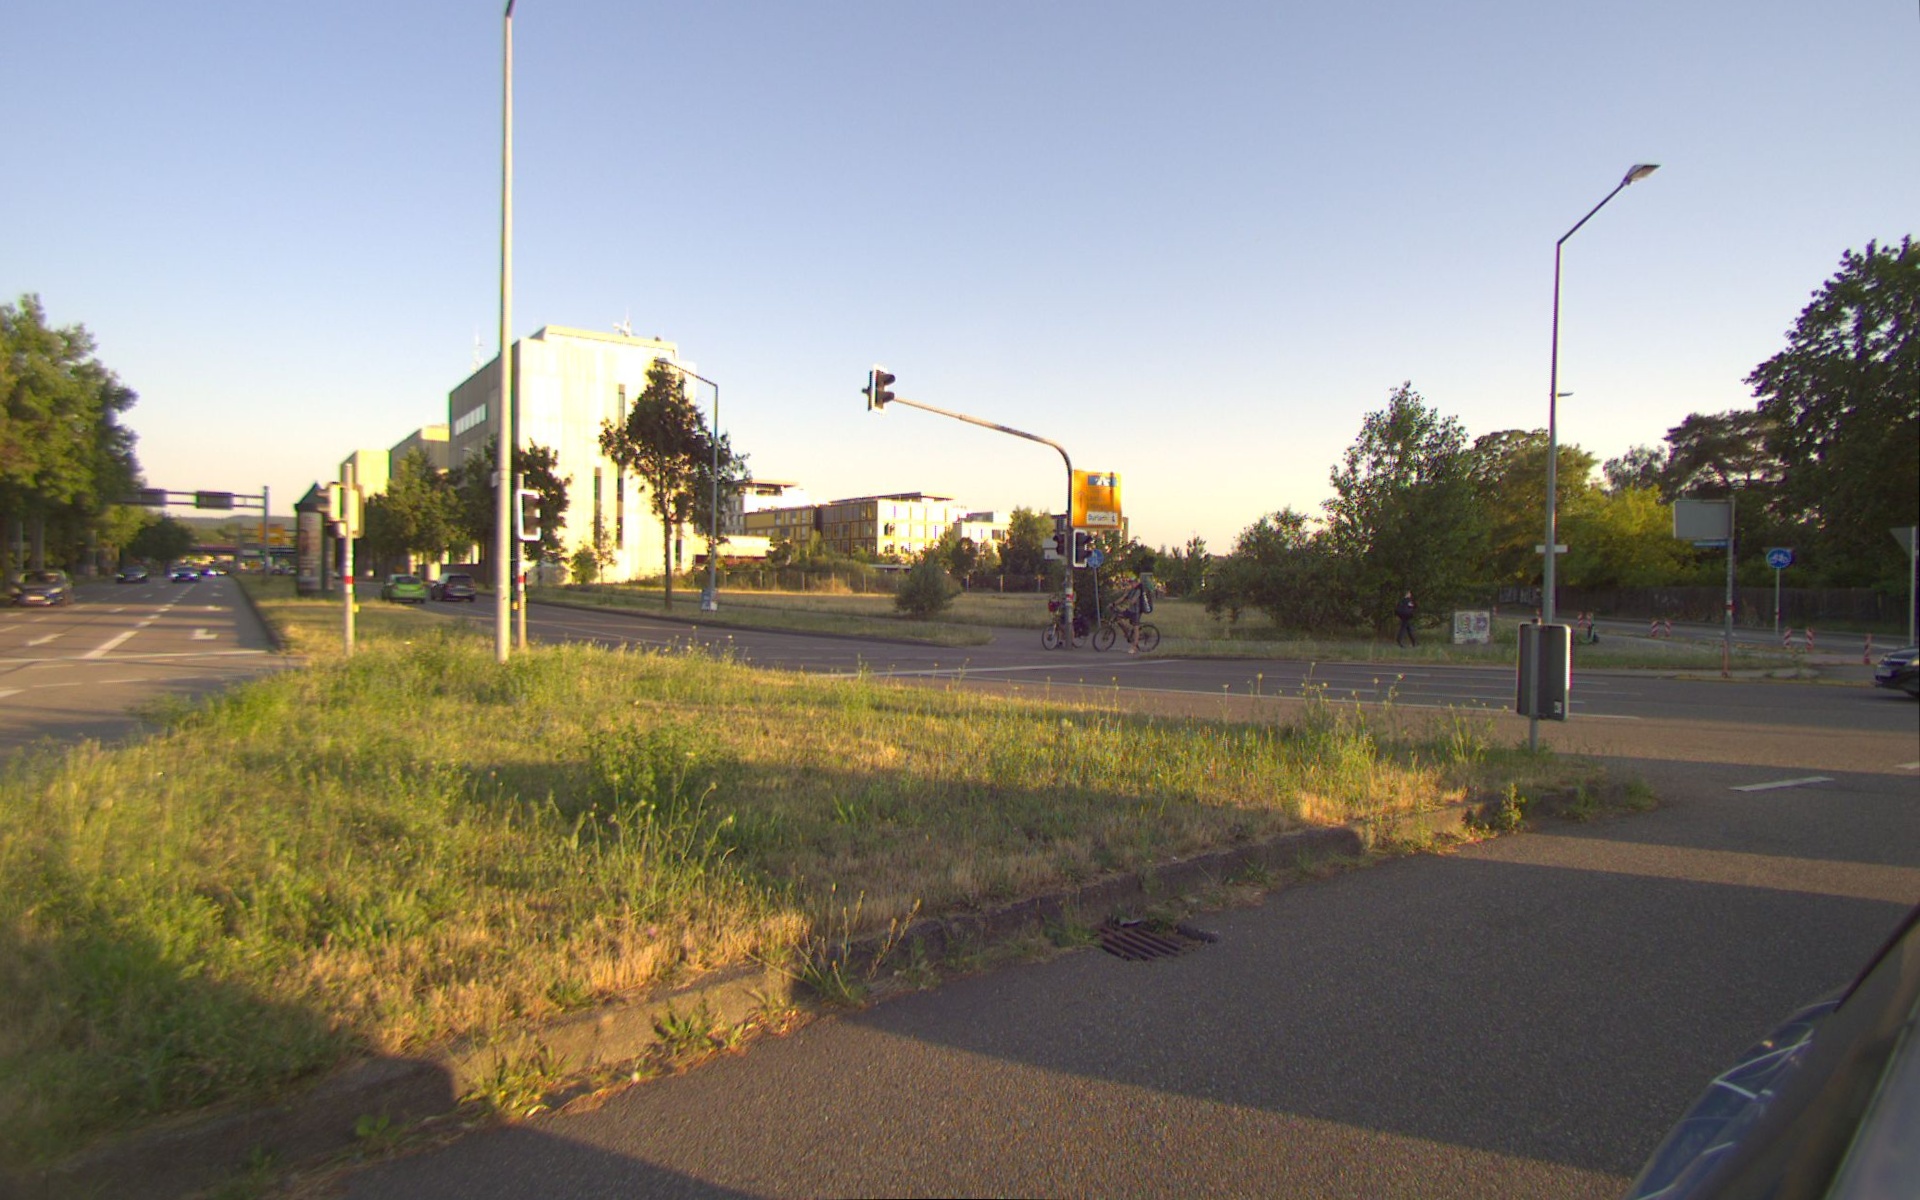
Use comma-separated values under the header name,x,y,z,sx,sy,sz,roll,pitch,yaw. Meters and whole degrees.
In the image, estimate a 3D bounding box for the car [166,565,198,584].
name,x,y,z,sx,sy,sz,roll,pitch,yaw
car,-65.090,-2.129,84.703,1.963,1.524,4.771,0,1,-36

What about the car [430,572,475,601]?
name,x,y,z,sx,sy,sz,roll,pitch,yaw
car,-29.125,-0.811,58.002,1.701,1.597,4.331,0,1,-35

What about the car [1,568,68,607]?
name,x,y,z,sx,sy,sz,roll,pitch,yaw
car,-40.150,-0.552,43.986,1.881,1.603,4.177,0,1,-39

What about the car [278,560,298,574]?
name,x,y,z,sx,sy,sz,roll,pitch,yaw
car,-86.142,-4.232,129.680,1.963,1.649,3.998,0,1,-37

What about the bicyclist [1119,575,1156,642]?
name,x,y,z,sx,sy,sz,roll,pitch,yaw
bicyclist,4.600,0.212,26.258,0.674,1.711,0.727,1,1,-13

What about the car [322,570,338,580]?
name,x,y,z,sx,sy,sz,roll,pitch,yaw
car,-93.520,-3.714,150.229,1.961,1.445,4.200,0,1,-34

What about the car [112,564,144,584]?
name,x,y,z,sx,sy,sz,roll,pitch,yaw
car,-68.039,-2.126,82.773,1.964,1.524,4.617,0,1,-39

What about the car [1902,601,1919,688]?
name,x,y,z,sx,sy,sz,roll,pitch,yaw
car,17.312,0.762,15.322,4.083,1.396,1.736,1,1,26

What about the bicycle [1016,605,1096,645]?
name,x,y,z,sx,sy,sz,roll,pitch,yaw
bicycle,2.600,0.662,27.342,2.065,0.975,0.711,-2,2,-27

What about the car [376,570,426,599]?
name,x,y,z,sx,sy,sz,roll,pitch,yaw
car,-28.923,-0.843,52.308,1.659,1.437,3.998,-2,2,-37

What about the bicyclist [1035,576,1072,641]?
name,x,y,z,sx,sy,sz,roll,pitch,yaw
bicyclist,2.514,0.211,27.324,0.675,1.711,0.726,0,1,-29

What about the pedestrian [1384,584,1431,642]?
name,x,y,z,sx,sy,sz,roll,pitch,yaw
pedestrian,12.781,0.363,28.933,0.974,1.610,0.925,1,1,5

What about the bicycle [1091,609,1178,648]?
name,x,y,z,sx,sy,sz,roll,pitch,yaw
bicycle,4.527,0.735,26.237,2.100,0.975,0.711,1,1,-15
